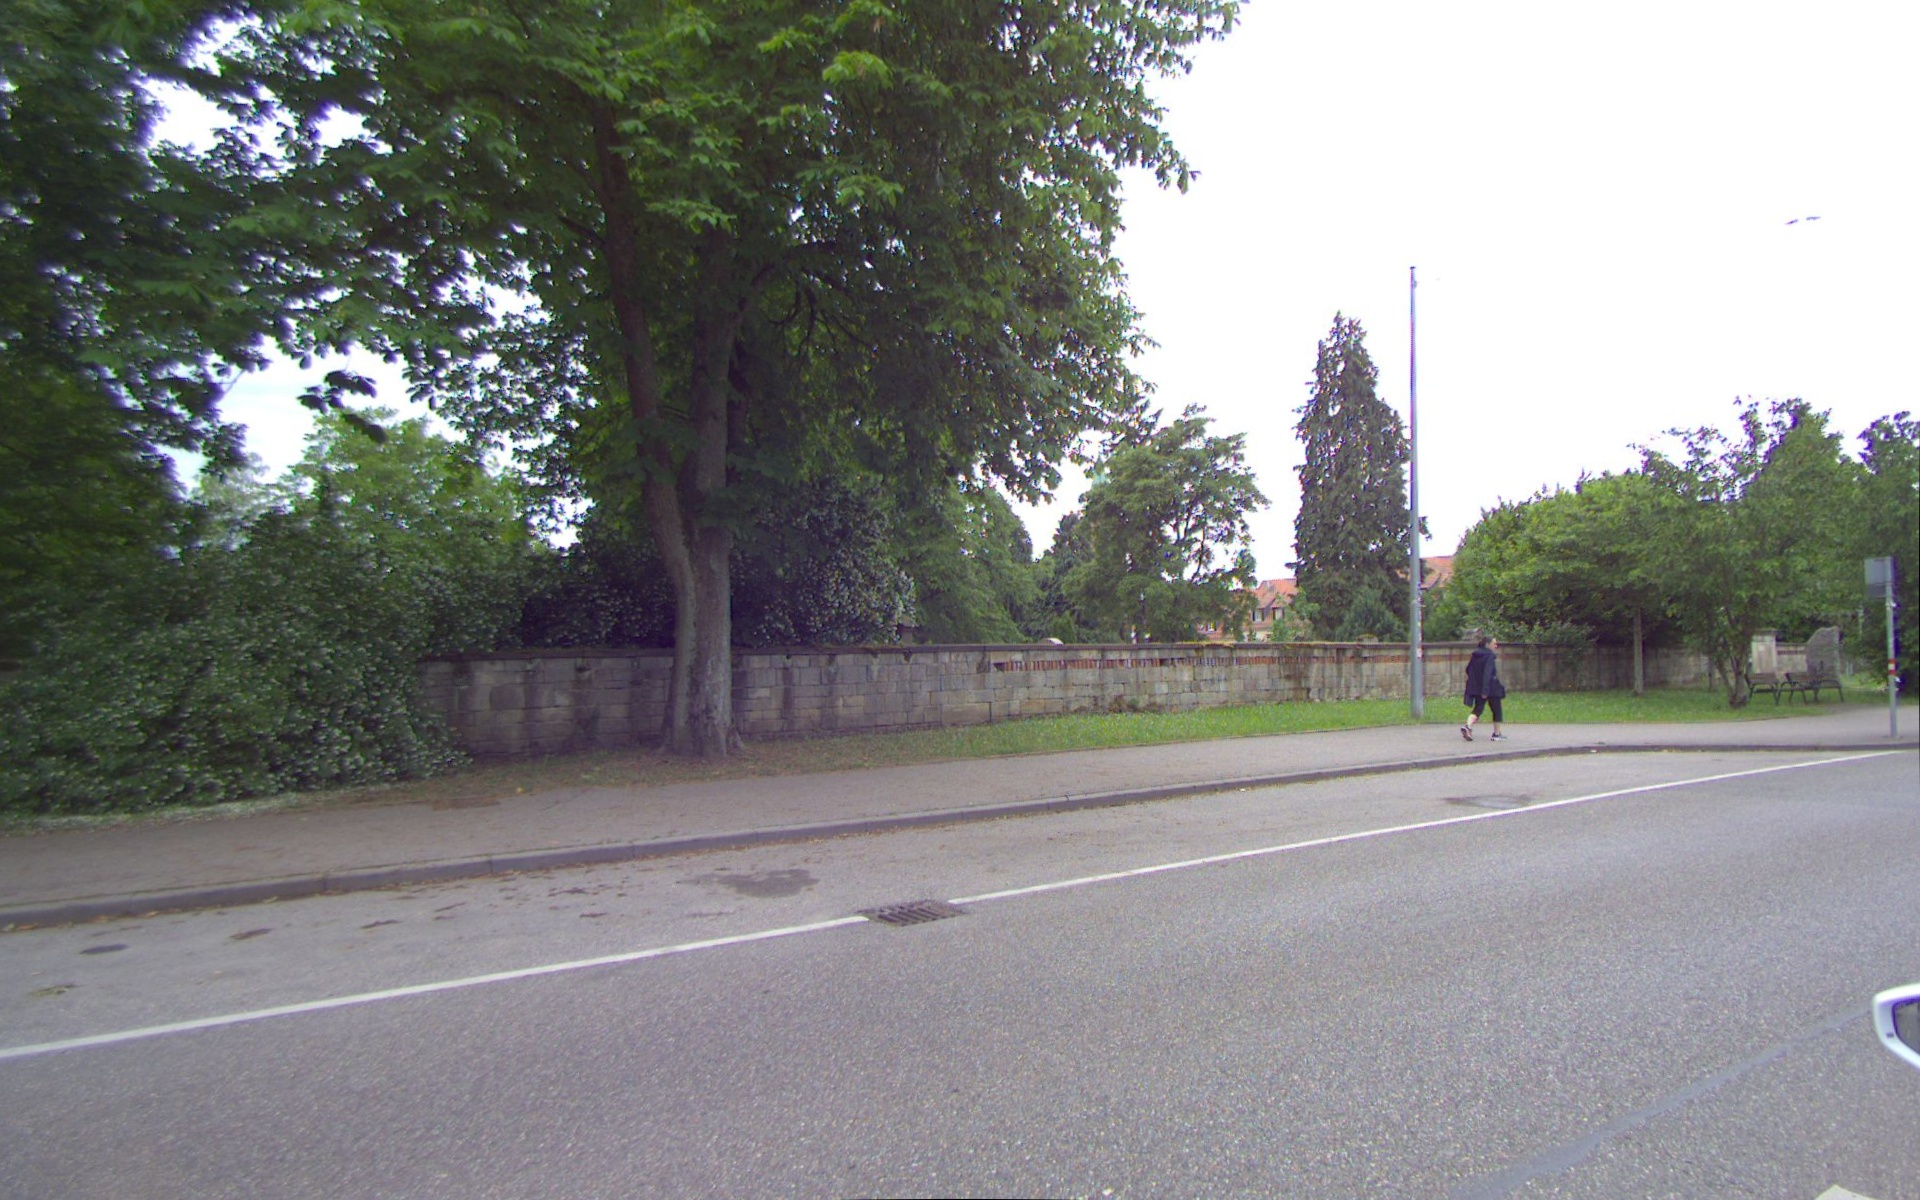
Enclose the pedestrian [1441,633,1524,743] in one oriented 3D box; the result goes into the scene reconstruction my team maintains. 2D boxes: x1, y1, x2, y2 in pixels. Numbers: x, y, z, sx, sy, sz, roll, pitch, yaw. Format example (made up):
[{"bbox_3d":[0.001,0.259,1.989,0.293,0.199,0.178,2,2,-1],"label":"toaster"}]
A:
[{"bbox_3d":[7.983,1.318,15.356,0.955,1.599,0.745,1,-1,-30],"label":"pedestrian"}]
